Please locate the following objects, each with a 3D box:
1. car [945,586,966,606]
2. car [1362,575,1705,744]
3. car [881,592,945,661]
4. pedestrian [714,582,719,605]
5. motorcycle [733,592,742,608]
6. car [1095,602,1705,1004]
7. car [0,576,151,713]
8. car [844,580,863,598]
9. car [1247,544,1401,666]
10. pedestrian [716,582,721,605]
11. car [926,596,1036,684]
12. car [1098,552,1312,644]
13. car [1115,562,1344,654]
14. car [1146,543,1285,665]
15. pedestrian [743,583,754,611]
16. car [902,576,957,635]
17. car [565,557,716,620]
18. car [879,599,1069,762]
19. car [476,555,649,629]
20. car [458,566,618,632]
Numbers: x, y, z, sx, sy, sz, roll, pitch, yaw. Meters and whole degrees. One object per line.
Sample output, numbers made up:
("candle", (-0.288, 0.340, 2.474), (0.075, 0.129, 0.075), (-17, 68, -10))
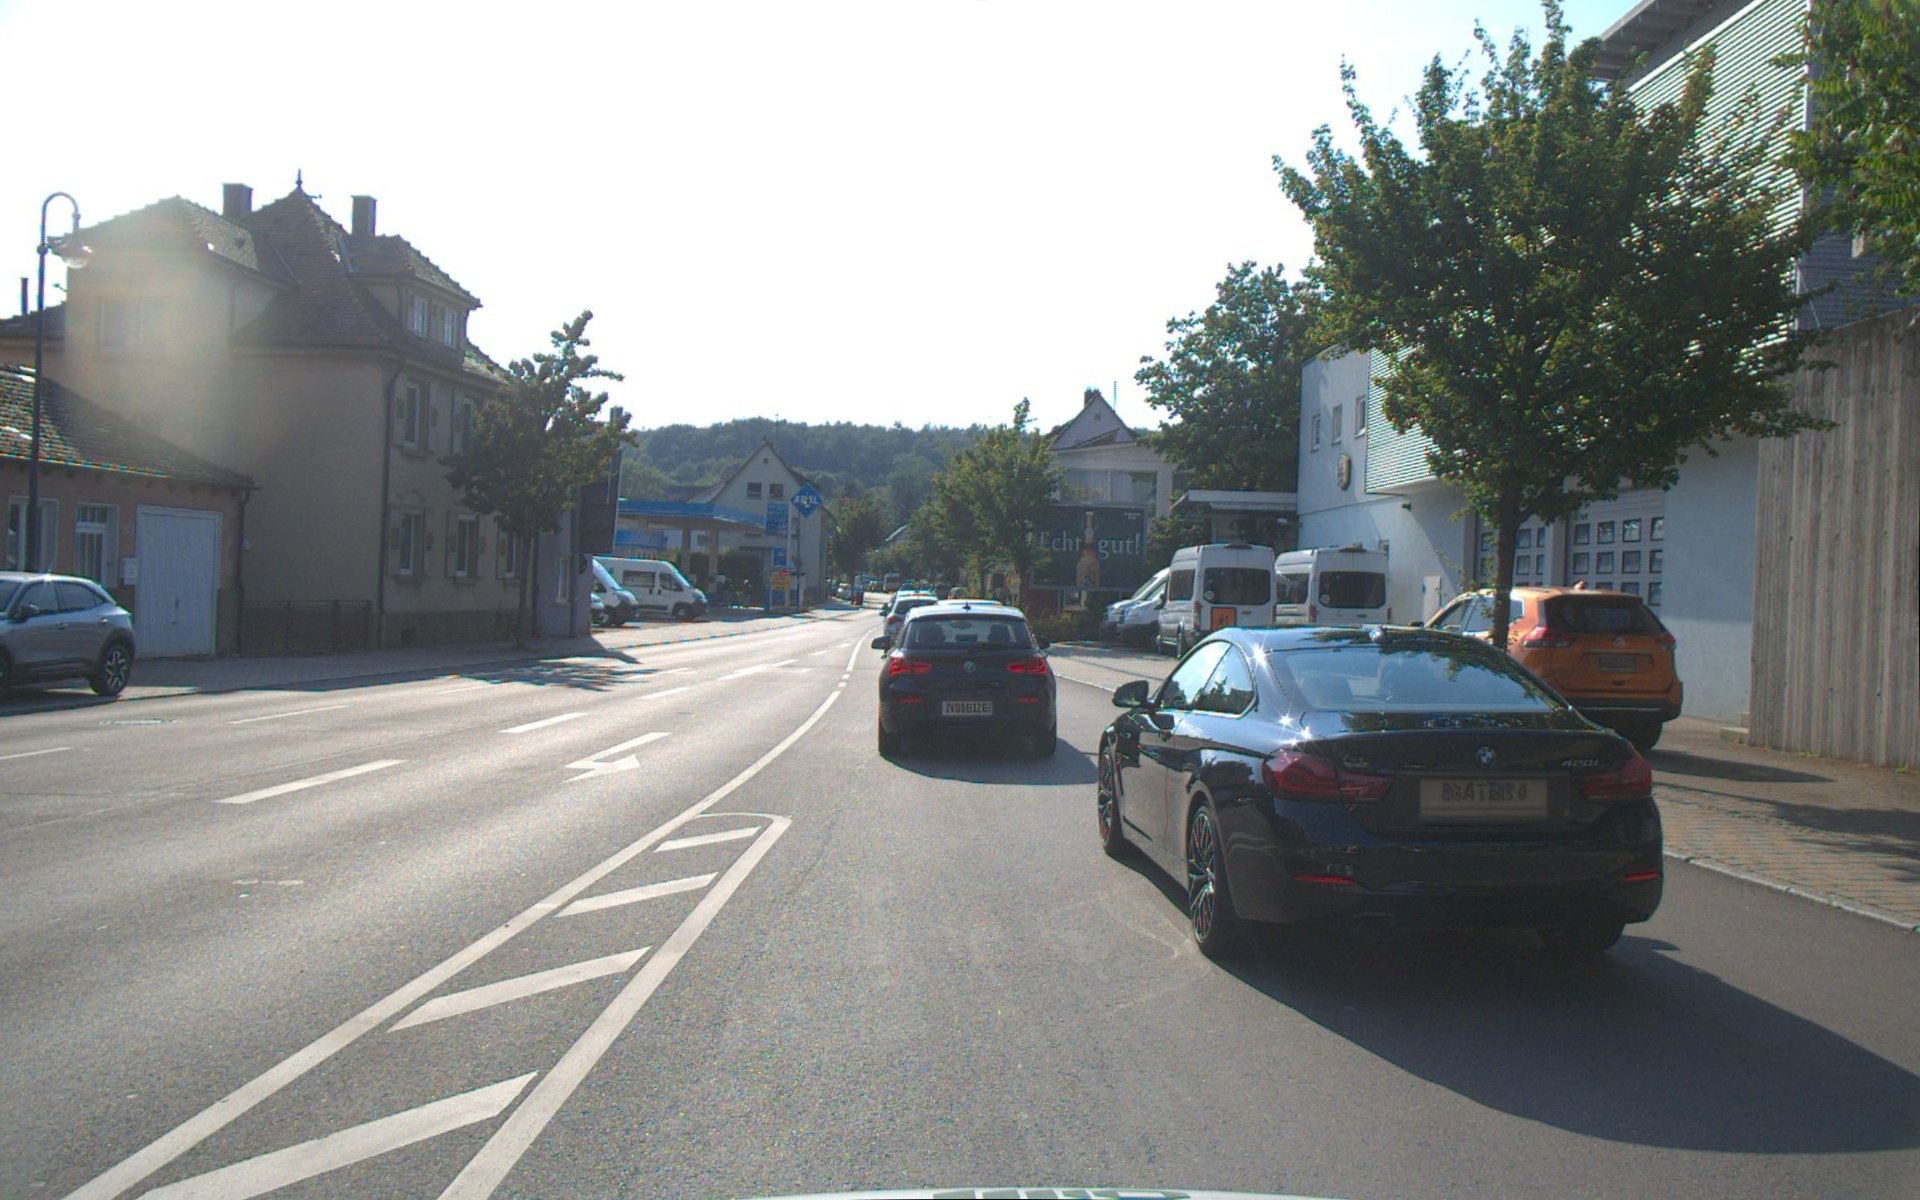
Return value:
("car", (-0.360, -0.339, 137.220), (1.565, 1.511, 3.473), (2, 1, -2))
("car", (6.338, 0.589, 18.907), (1.800, 1.678, 4.529), (1, 0, -9))
("car", (-1.244, 0.646, 42.897), (1.560, 1.628, 3.891), (1, 1, -3))
("pedestrian", (-14.944, -0.396, 101.443), (0.257, 1.407, 0.288), (1, 0, -6))
("motorcycle", (-13.738, 0.008, 102.218), (0.356, 0.960, 1.695), (1, 1, -2))
("car", (1.804, 0.748, 8.215), (1.666, 1.393, 4.259), (0, 1, -4))
("car", (-11.998, 0.508, 20.442), (1.719, 1.504, 4.002), (4, 1, 4))
("car", (-9.654, -1.022, 149.934), (1.565, 1.511, 3.473), (2, 1, -2))
("car", (8.873, 0.068, 40.965), (2.069, 2.769, 6.440), (1, 1, -3))
("pedestrian", (-14.723, -0.376, 100.954), (0.281, 1.390, 0.262), (1, 0, -5))
("car", (0.327, 0.689, 30.266), (1.719, 1.438, 3.419), (1, 1, -4))
("car", (7.159, -0.066, 48.649), (5.924, 2.560, 2.043), (1, 1, -4))
("car", (7.395, 0.211, 45.725), (5.924, 2.404, 2.043), (1, 1, -4))
("car", (6.153, 0.049, 40.741), (2.106, 2.727, 6.600), (1, 1, -3))
("pedestrian", (-13.111, -0.191, 102.576), (0.598, 1.699, 0.442), (1, 0, -4))
("car", (-0.934, 0.153, 52.481), (1.570, 1.798, 3.411), (1, 1, 1))
("car", (-13.760, -0.512, 71.592), (6.034, 2.487, 2.249), (2, 1, -1))
("car", (0.128, 0.741, 17.013), (1.735, 1.482, 3.515), (1, 0, 0))
("car", (-14.809, -0.301, 61.810), (5.796, 2.523, 2.195), (2, 1, 3))
("car", (-14.313, -0.055, 56.249), (4.873, 2.034, 1.936), (2, 0, 1))
